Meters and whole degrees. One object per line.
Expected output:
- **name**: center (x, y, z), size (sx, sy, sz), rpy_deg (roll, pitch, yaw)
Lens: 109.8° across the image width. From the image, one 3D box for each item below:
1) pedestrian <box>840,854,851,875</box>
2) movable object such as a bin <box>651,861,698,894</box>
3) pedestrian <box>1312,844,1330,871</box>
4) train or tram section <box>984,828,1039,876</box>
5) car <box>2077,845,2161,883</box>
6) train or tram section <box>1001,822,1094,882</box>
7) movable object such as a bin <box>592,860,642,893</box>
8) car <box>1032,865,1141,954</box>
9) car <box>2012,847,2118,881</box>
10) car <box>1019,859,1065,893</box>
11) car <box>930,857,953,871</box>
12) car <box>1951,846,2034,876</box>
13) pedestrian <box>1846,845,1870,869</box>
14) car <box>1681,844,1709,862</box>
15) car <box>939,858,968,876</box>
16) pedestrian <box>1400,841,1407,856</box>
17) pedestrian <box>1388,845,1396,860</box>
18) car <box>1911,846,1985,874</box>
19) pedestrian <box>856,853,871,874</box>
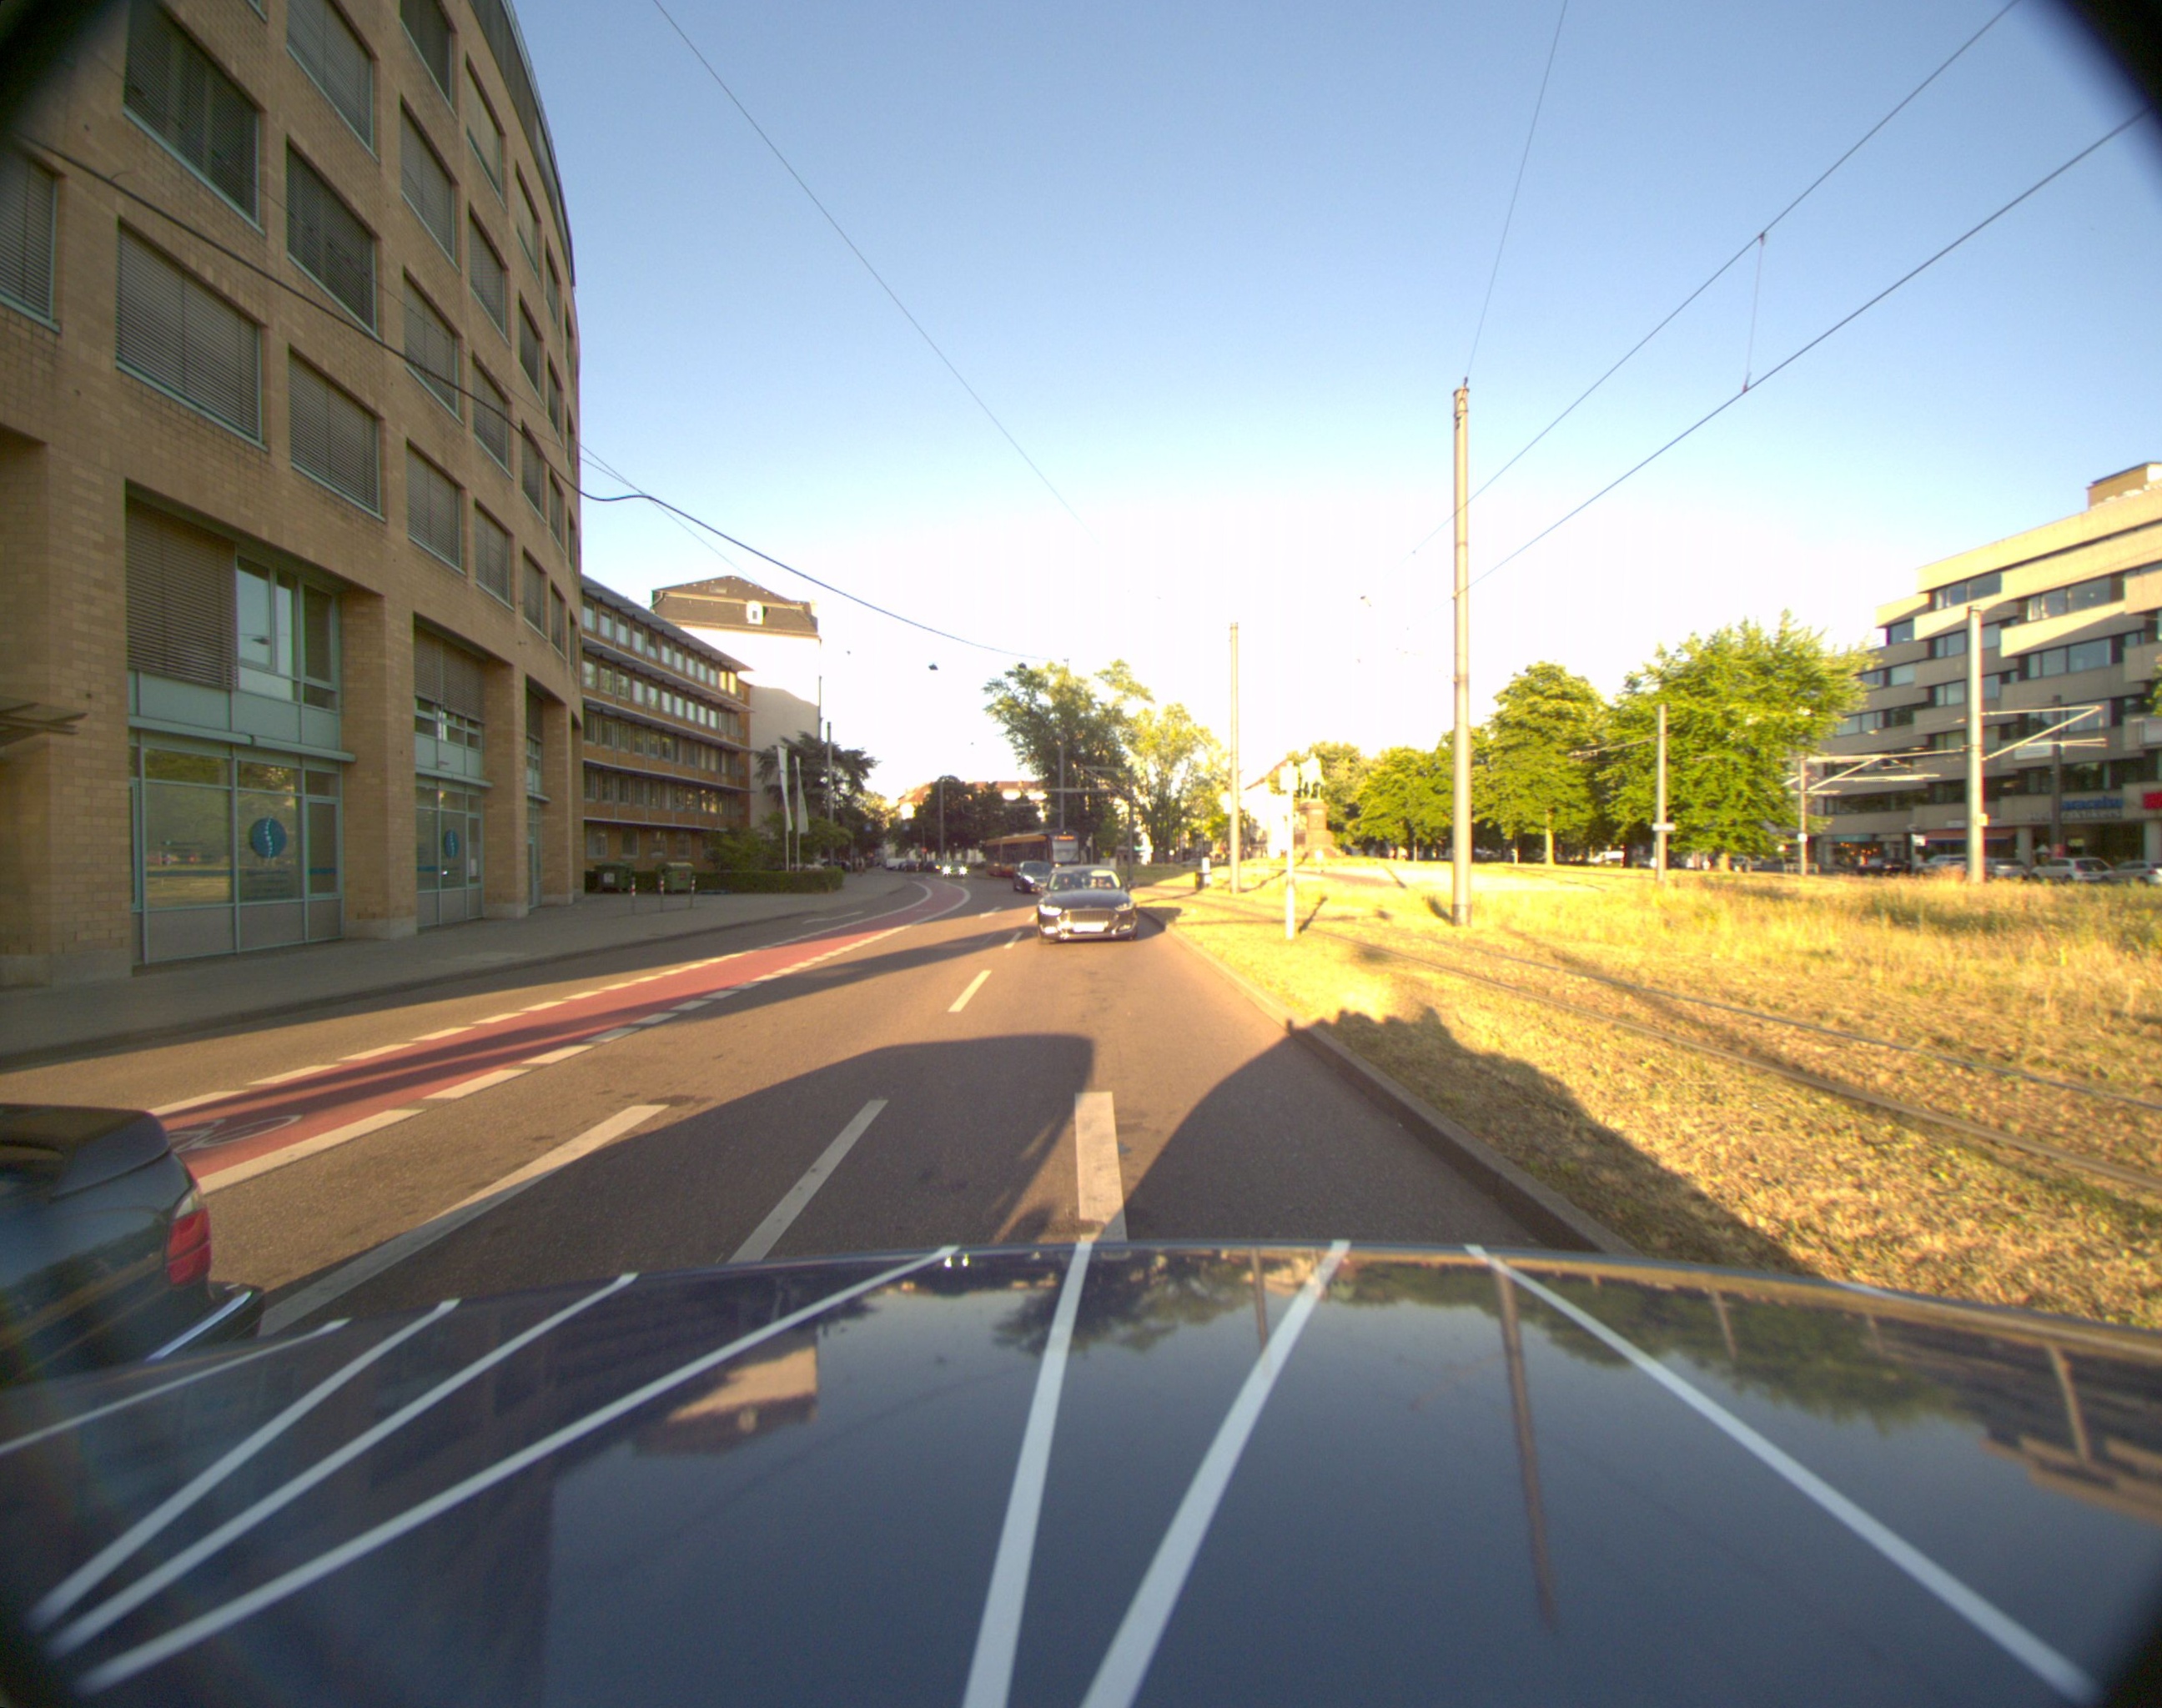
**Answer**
- **pedestrian**: center (-20.839, 0.931, 67.290), size (0.728, 1.797, 0.724), rpy_deg (-1, 1, 1)
- **movable object such as a bin**: center (-18.274, 1.052, 34.204), size (1.427, 1.450, 1.332), rpy_deg (-1, 0, -3)
- **pedestrian**: center (15.474, 0.249, 48.998), size (0.891, 1.718, 0.797), rpy_deg (-1, 1, 1)
- **train or tram section**: center (-6.236, -0.177, 65.854), size (2.888, 3.717, 12.168), rpy_deg (-1, 0, -14)
- **car**: center (54.144, 0.494, 39.009), size (1.921, 1.853, 4.006), rpy_deg (-1, 0, 23)
- **train or tram section**: center (-2.764, -0.135, 54.297), size (2.921, 3.717, 13.196), rpy_deg (-1, 0, -19)
- **movable object such as a bin**: center (-21.190, 1.025, 34.744), size (1.427, 1.450, 1.332), rpy_deg (-1, 0, -2)
- **car**: center (0.144, 1.006, 15.612), size (1.890, 1.477, 4.725), rpy_deg (0, 0, 1)
- **car**: center (56.311, 0.558, 43.591), size (1.995, 1.868, 4.006), rpy_deg (-1, 0, 22)
- **car**: center (-1.824, 1.026, 37.132), size (1.897, 1.526, 4.705), rpy_deg (0, 0, 1)
- **car**: center (-15.392, 1.046, 84.210), size (1.759, 1.379, 3.999), rpy_deg (-4, 0, -1)
- **car**: center (58.825, 0.434, 49.144), size (1.995, 1.868, 4.007), rpy_deg (0, 0, 27)
- **pedestrian**: center (66.556, 0.249, 65.064), size (1.138, 2.023, 0.892), rpy_deg (-1, 1, 3)
- **car**: center (72.044, -0.150, 89.200), size (1.995, 2.002, 4.007), rpy_deg (-2, 1, 32)
- **car**: center (-11.068, 1.071, 65.827), size (2.001, 1.453, 4.137), rpy_deg (-1, 0, -17)
- **pedestrian**: center (36.937, -0.622, 86.989), size (0.535, 1.684, 0.512), rpy_deg (-1, 1, 1)
- **pedestrian**: center (35.853, -0.171, 87.558), size (0.711, 1.660, 0.635), rpy_deg (-1, 1, 1)
- **car**: center (61.388, 0.380, 53.906), size (1.995, 1.925, 4.007), rpy_deg (-1, 0, 24)
- **pedestrian**: center (-19.929, 0.903, 69.592), size (0.913, 1.883, 1.123), rpy_deg (-1, 1, -35)
